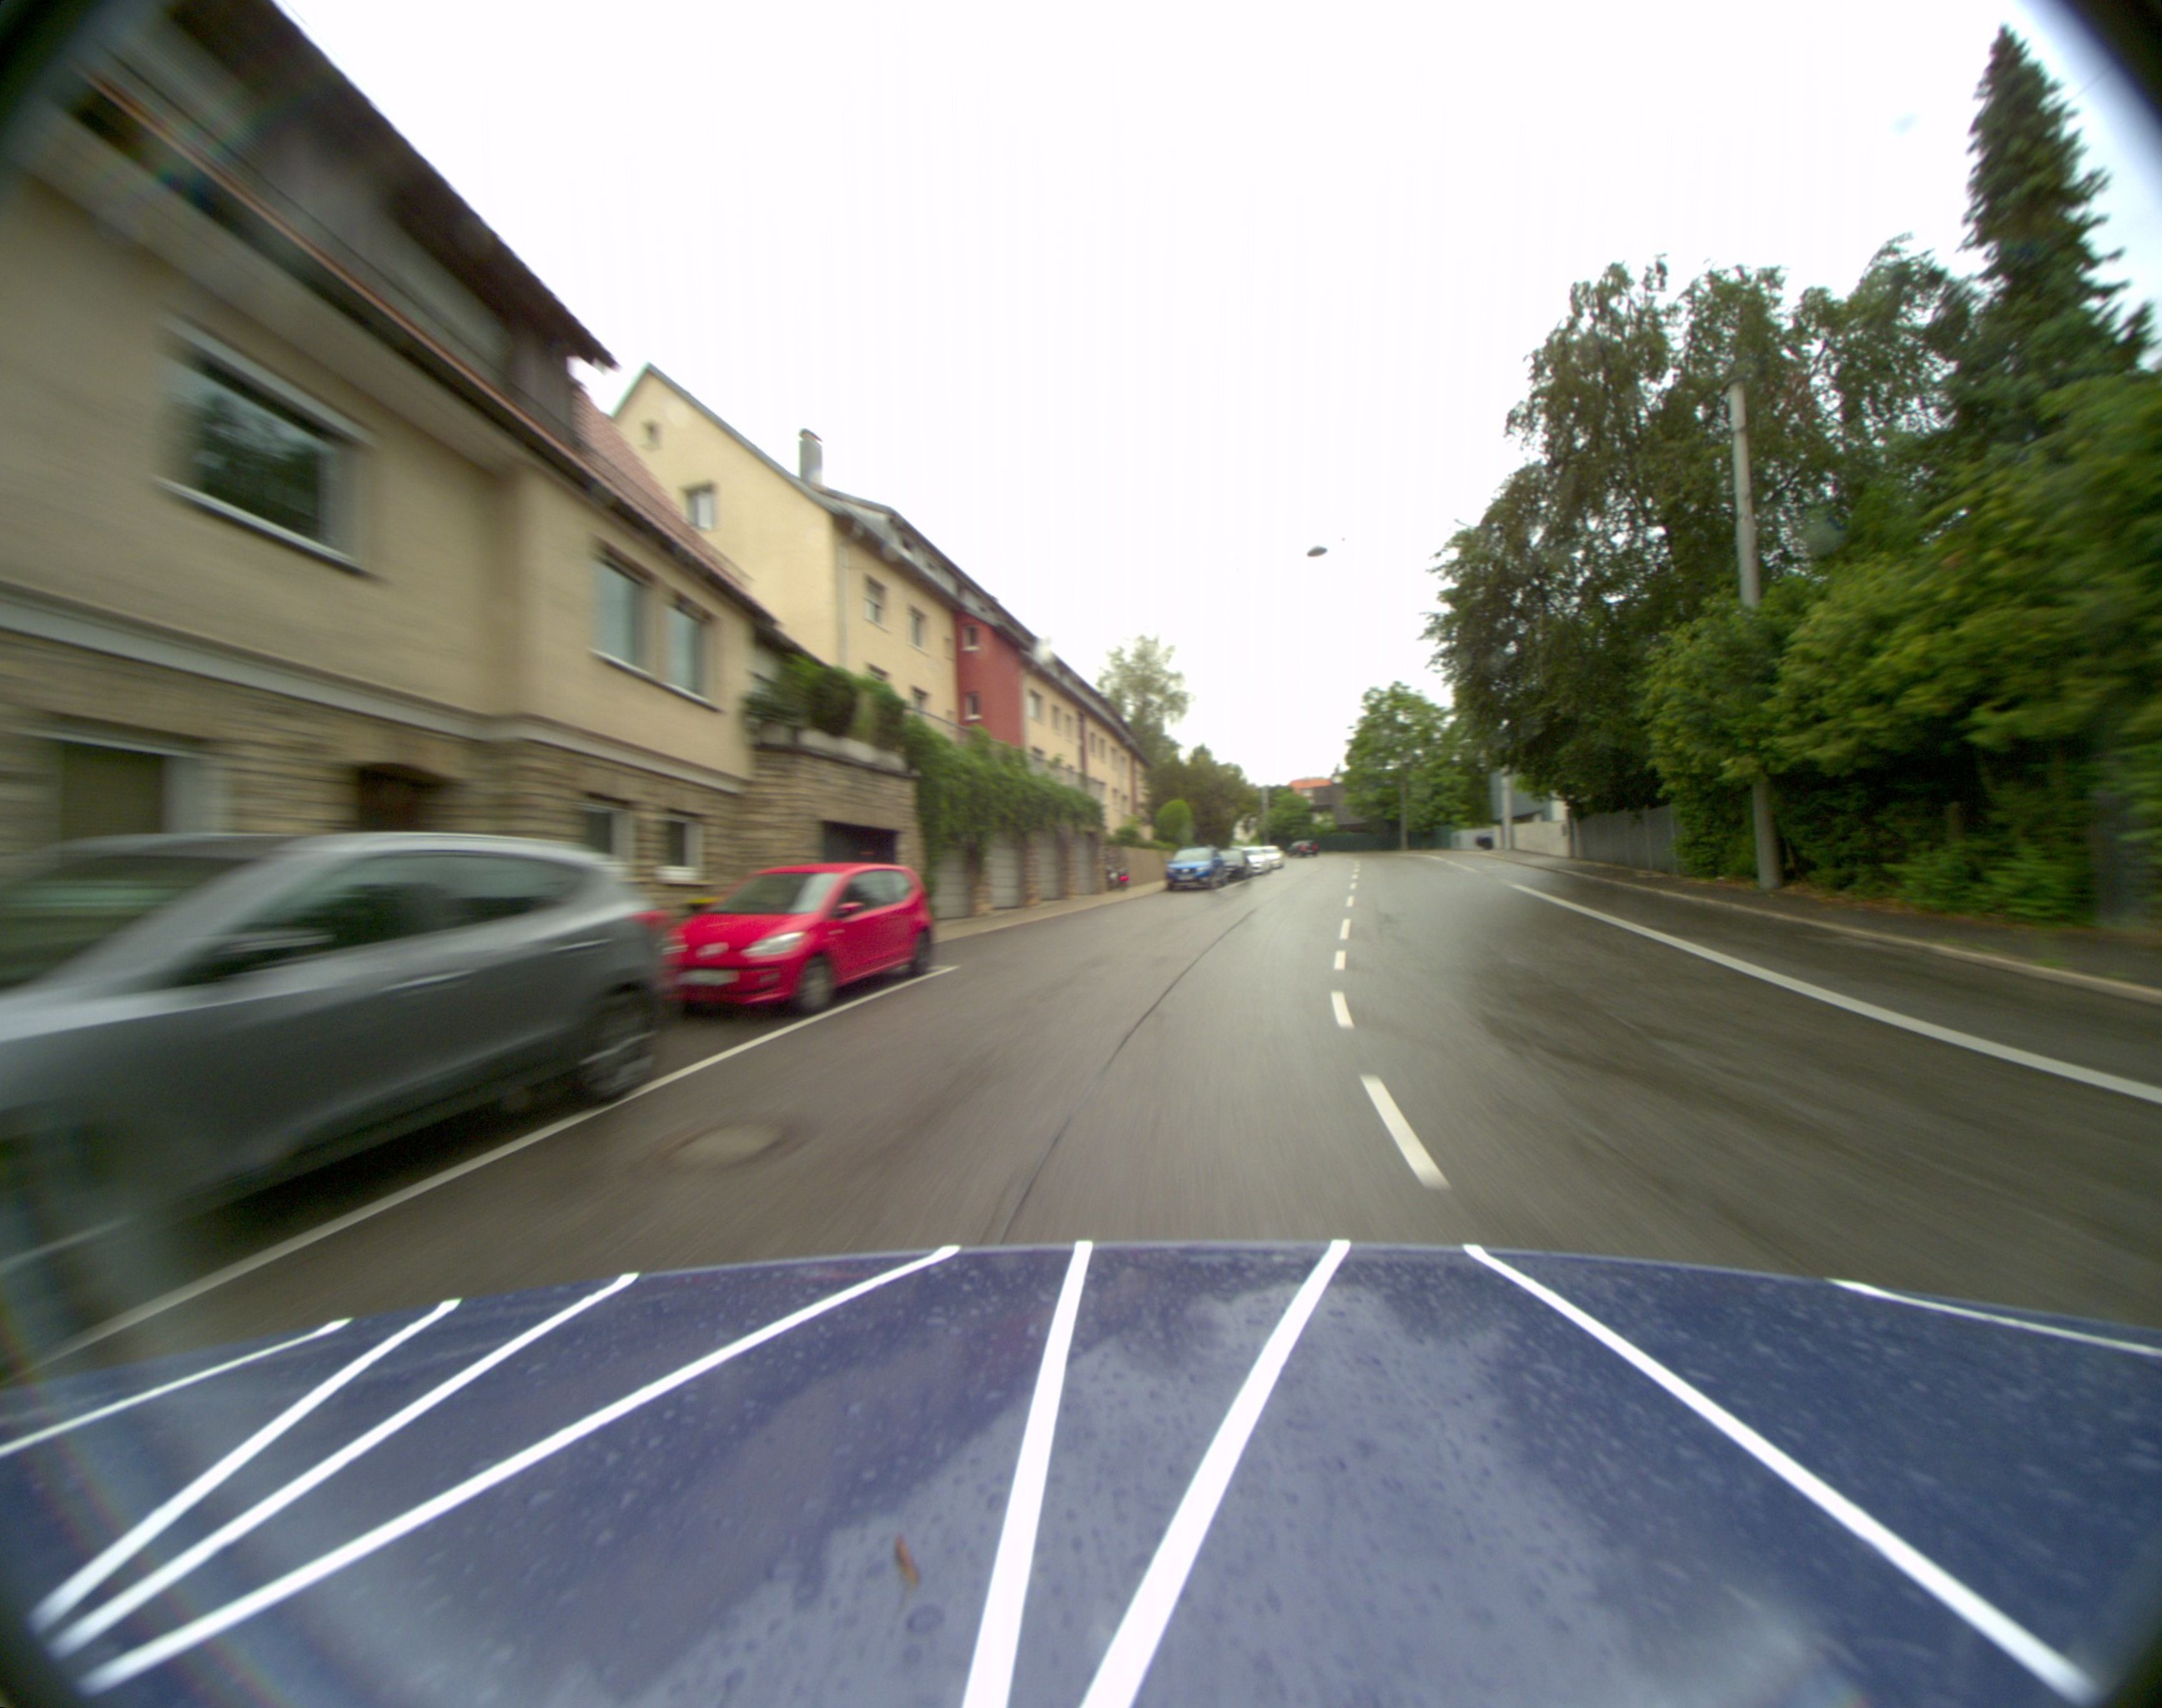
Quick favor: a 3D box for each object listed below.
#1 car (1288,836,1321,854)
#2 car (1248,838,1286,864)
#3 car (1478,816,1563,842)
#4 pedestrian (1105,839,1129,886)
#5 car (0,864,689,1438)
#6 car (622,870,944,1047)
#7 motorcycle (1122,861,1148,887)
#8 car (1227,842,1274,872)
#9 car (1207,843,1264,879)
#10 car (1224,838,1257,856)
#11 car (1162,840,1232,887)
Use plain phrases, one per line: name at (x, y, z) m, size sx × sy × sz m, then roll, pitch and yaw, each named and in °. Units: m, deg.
car at (20.422, -0.816, 69.477) m, size 1.654 × 1.412 × 3.801 m, roll -6°, pitch 1°, yaw -3°
car at (11.631, -0.218, 47.258) m, size 1.781 × 1.427 × 4.574 m, roll -5°, pitch 0°, yaw 19°
car at (26.807, -1.531, 46.428) m, size 1.900 × 1.293 × 3.990 m, roll -3°, pitch 0°, yaw -35°
pedestrian at (1.298, 0.310, 27.223) m, size 0.621 × 1.641 × 0.614 m, roll -4°, pitch 1°, yaw -10°
car at (-3.814, 0.885, 3.285) m, size 1.618 × 1.595 × 4.413 m, roll -1°, pitch 0°, yaw 5°
car at (-3.061, 0.976, 8.662) m, size 1.617 × 1.427 × 3.584 m, roll -1°, pitch 1°, yaw 13°
motorcycle at (1.900, 0.710, 26.942) m, size 0.537 × 0.851 × 1.379 m, roll -4°, pitch 1°, yaw -10°
car at (9.081, 0.135, 40.416) m, size 1.809 × 1.447 × 4.259 m, roll -3°, pitch 0°, yaw 20°
car at (7.111, 0.266, 34.687) m, size 1.691 × 1.447 × 4.260 m, roll -3°, pitch 0°, yaw 22°
car at (14.236, -0.607, 67.963) m, size 1.687 × 1.463 × 3.736 m, roll 1°, pitch 0°, yaw -8°
car at (4.486, 0.294, 28.869) m, size 1.735 × 1.584 × 4.259 m, roll -3°, pitch 0°, yaw 20°
